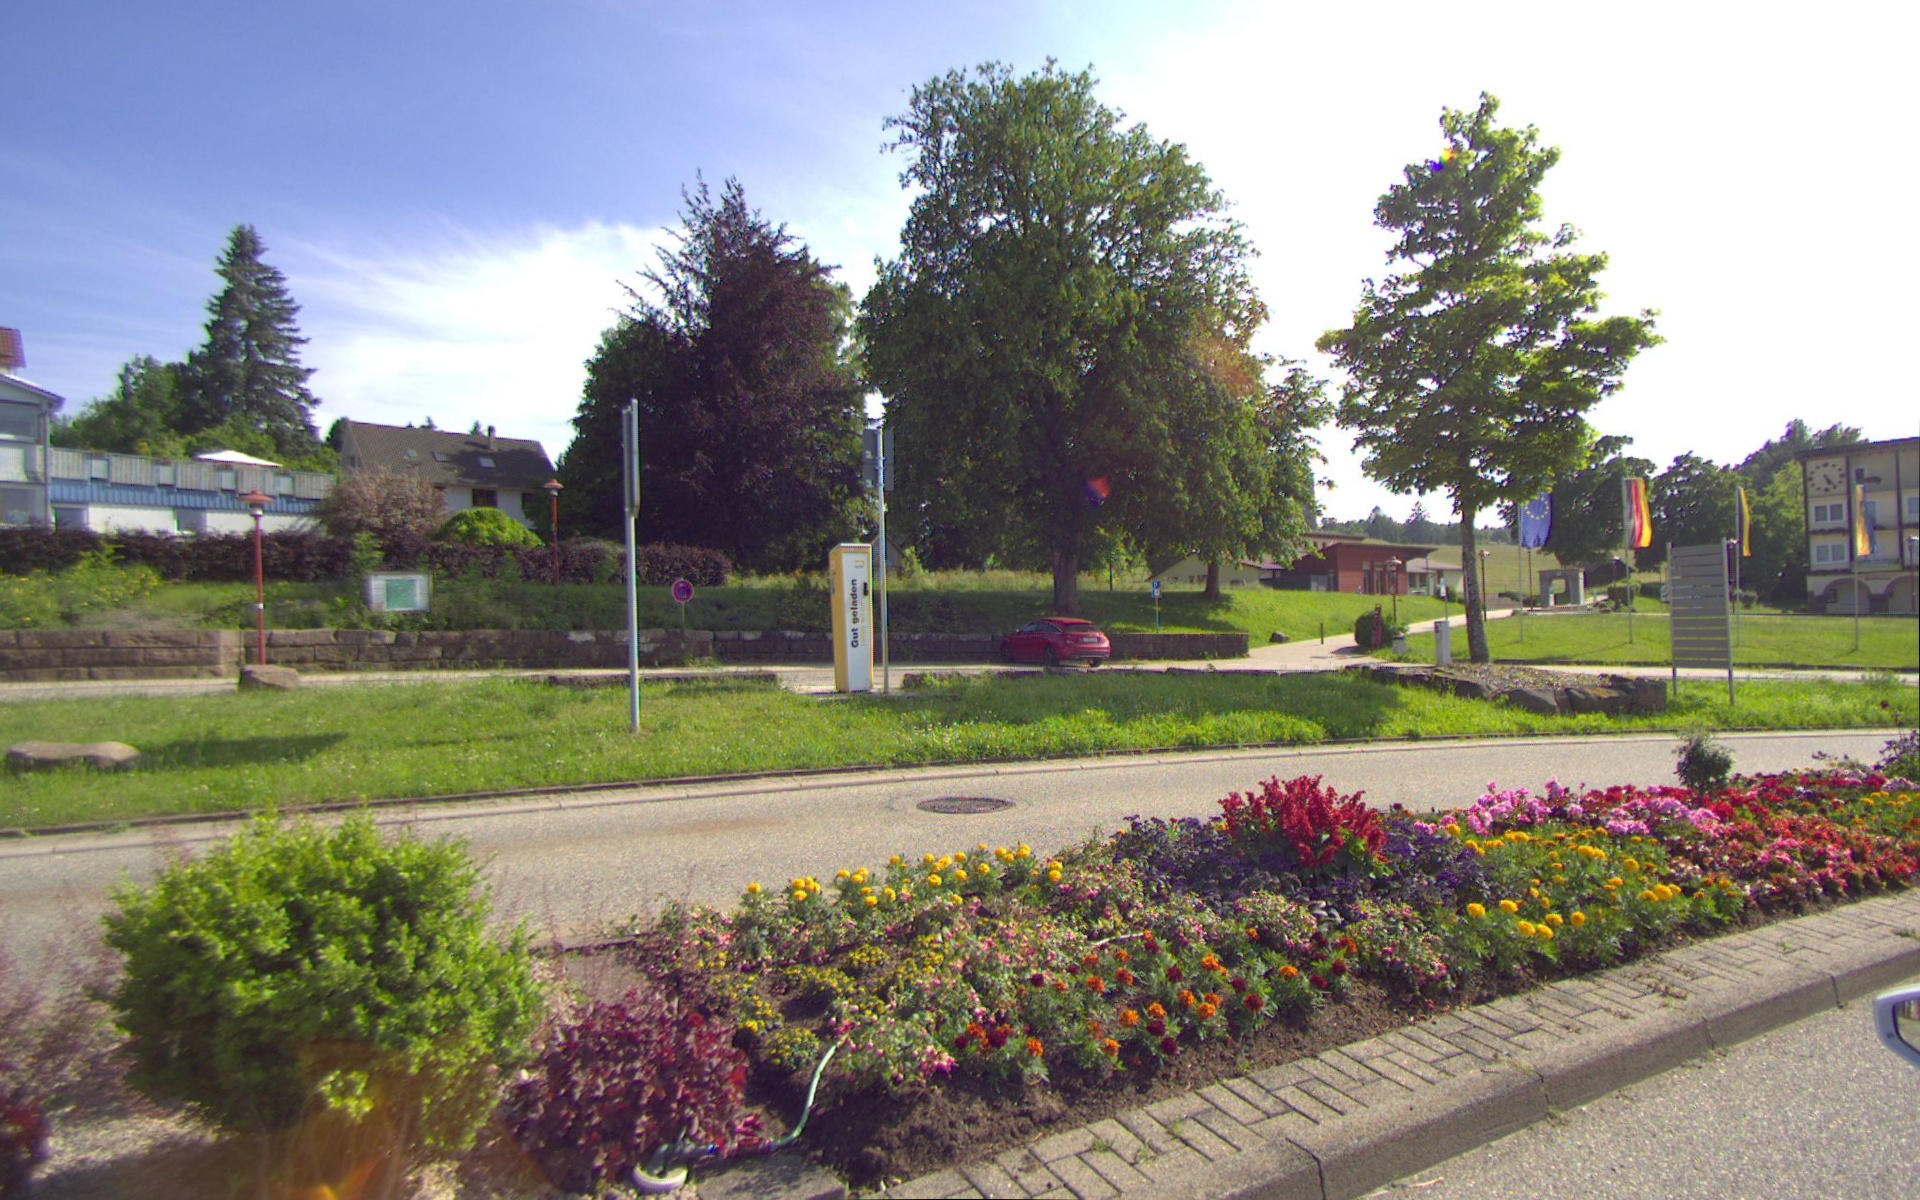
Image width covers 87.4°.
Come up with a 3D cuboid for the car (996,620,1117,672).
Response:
[{"bbox_3d":[2.891,1.361,30.982,1.799,1.417,4.211,1,0,-26],"label":"car"}]
